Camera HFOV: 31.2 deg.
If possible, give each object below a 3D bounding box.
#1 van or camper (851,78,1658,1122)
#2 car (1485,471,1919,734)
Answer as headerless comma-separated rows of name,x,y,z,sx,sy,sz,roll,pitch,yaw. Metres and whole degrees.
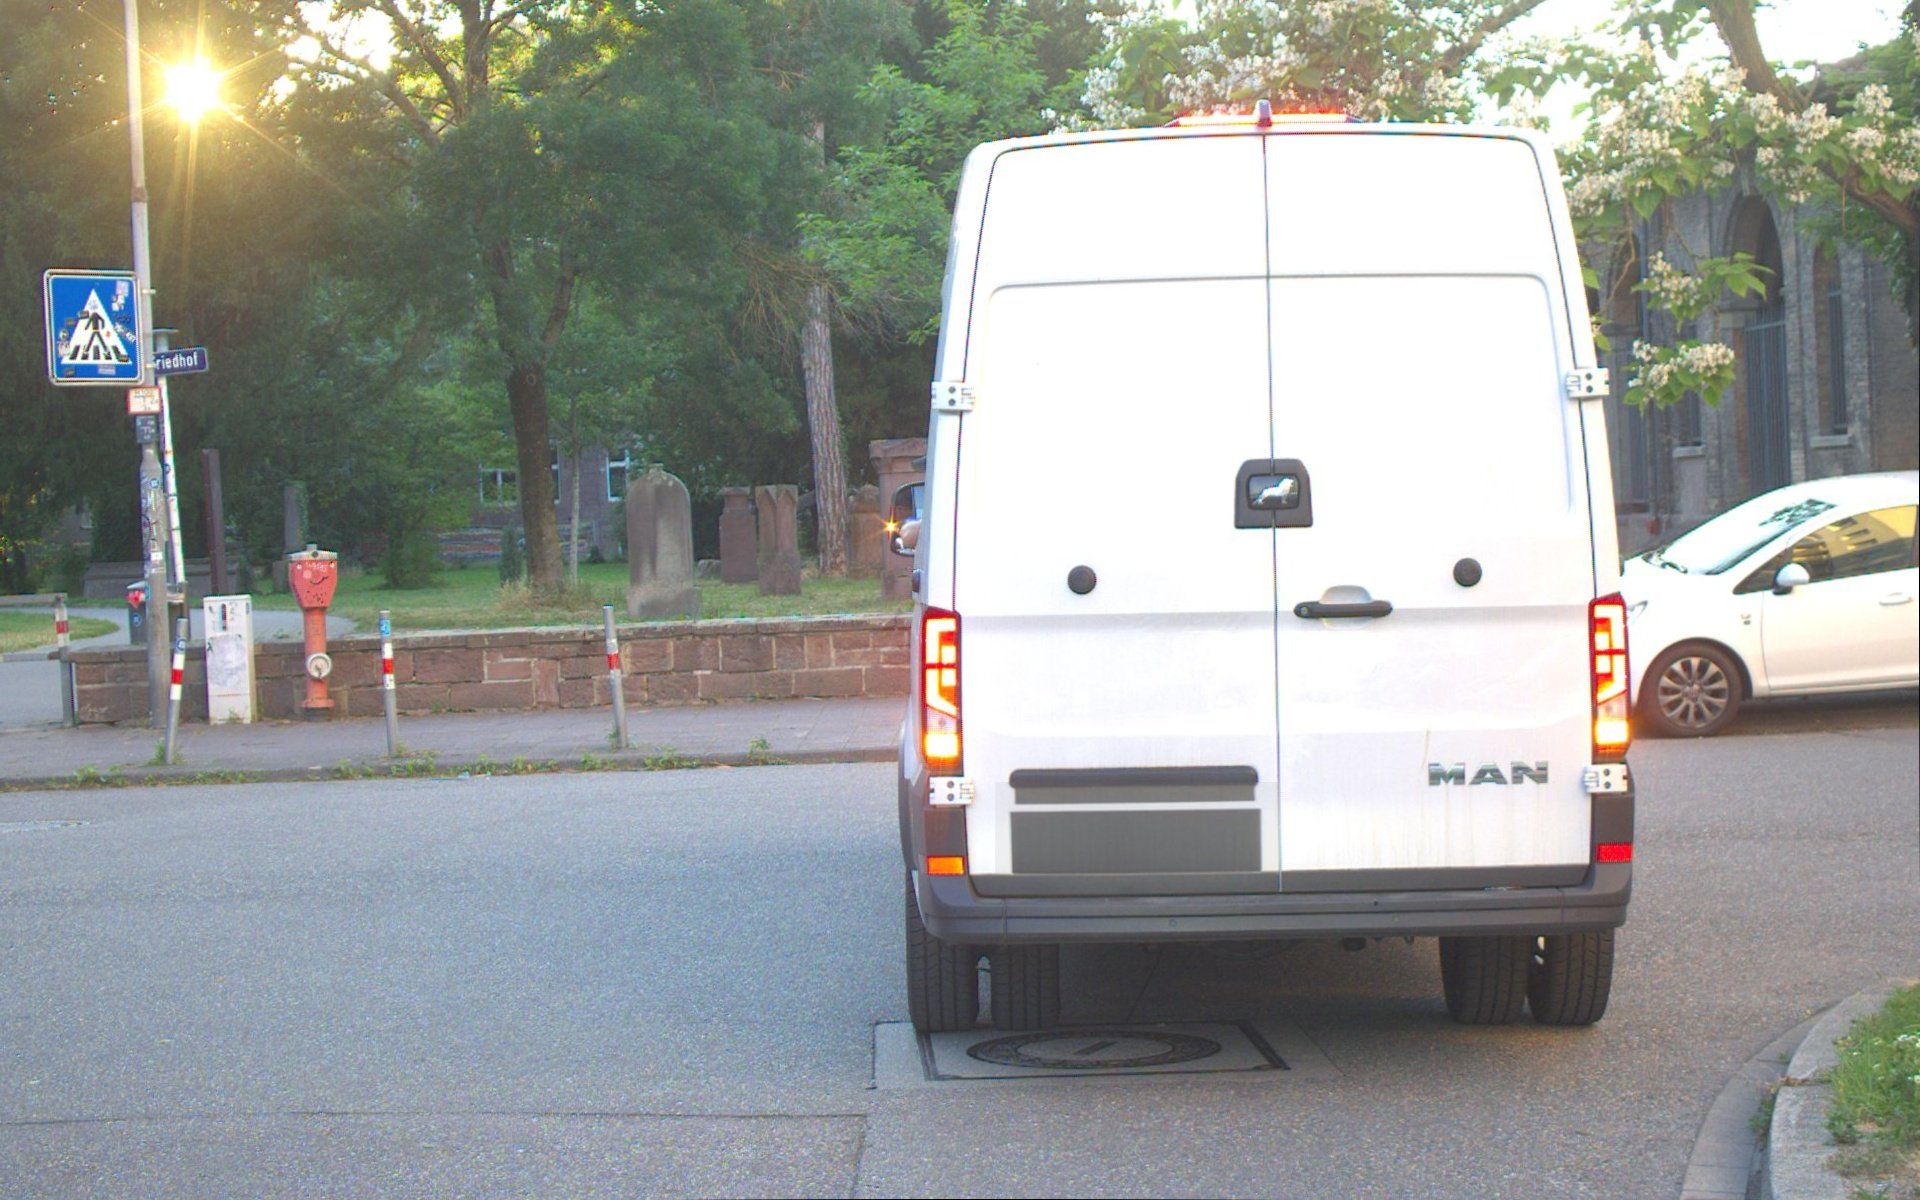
van or camper,0.833,-0.069,11.918,1.993,2.609,6.403,-1,1,2
car,5.529,-0.032,22.247,3.854,1.568,1.958,-1,2,-3
